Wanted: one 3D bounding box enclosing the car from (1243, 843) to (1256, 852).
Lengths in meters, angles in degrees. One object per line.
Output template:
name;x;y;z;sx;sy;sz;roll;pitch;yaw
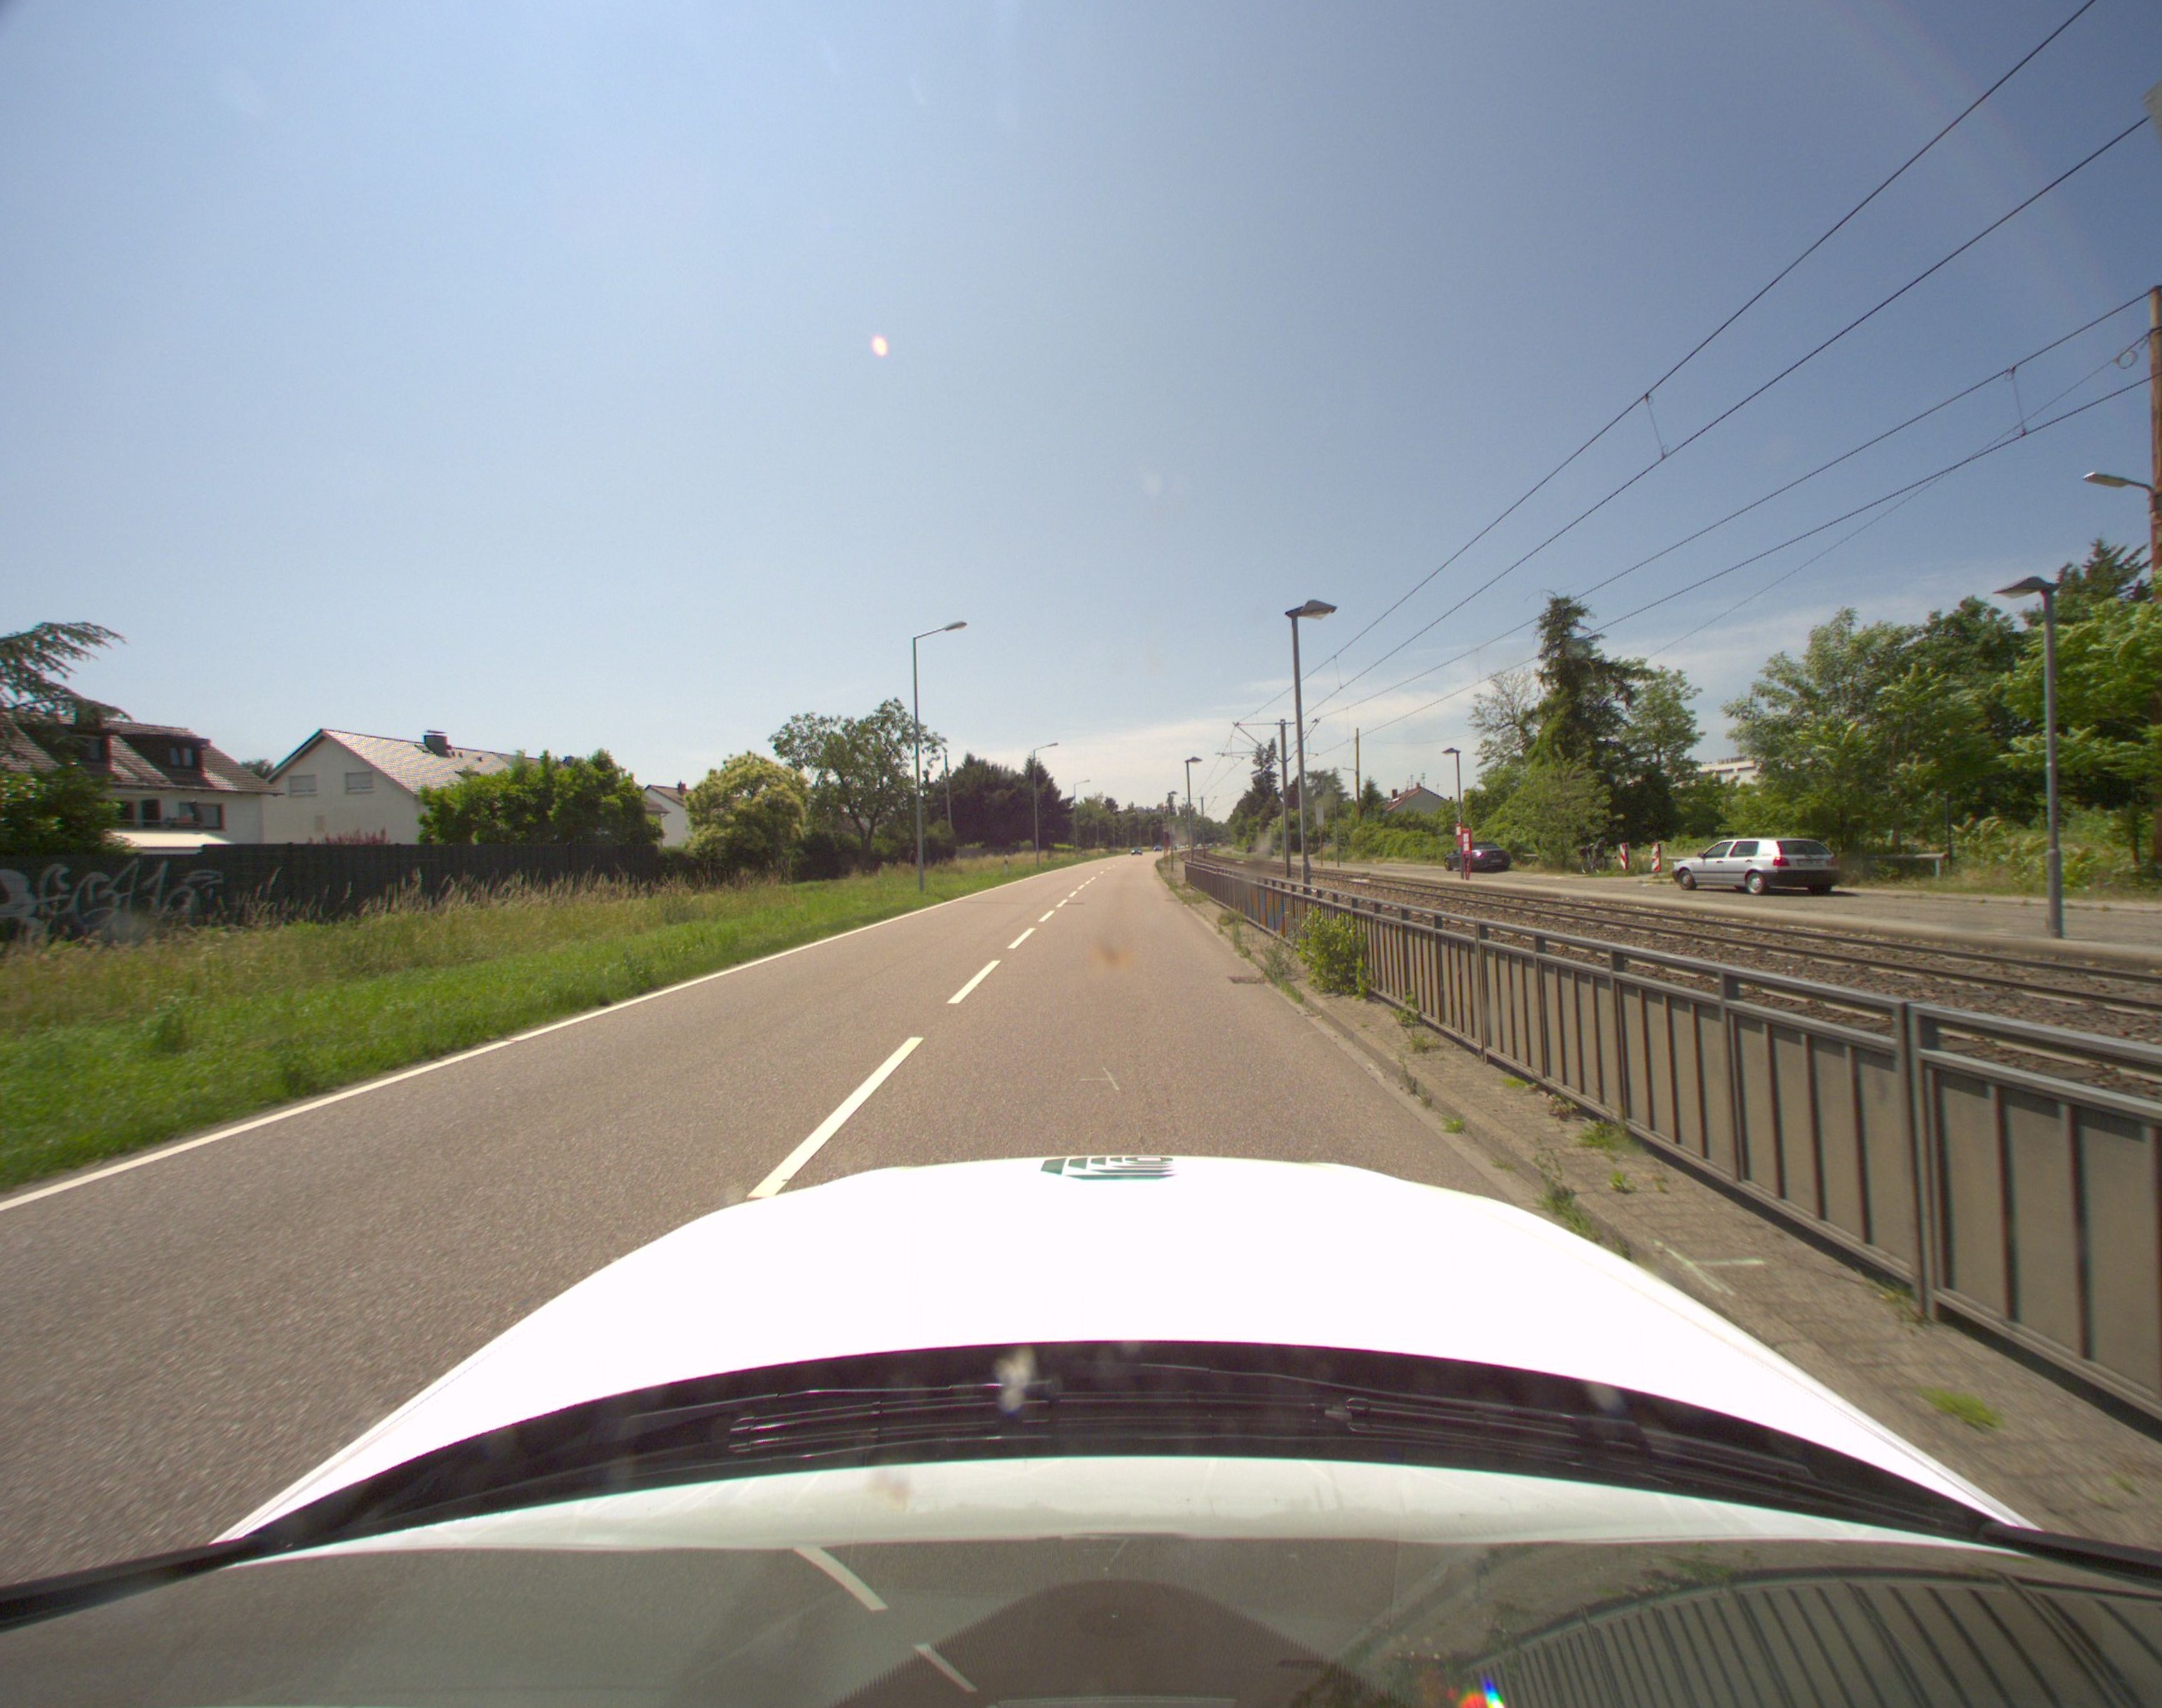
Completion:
car;29.492;-1.084;142.465;1.904;1.470;4.008;-1;0;7

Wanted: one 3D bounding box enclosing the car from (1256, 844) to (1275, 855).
car;24.810;-0.625;109.452;1.852;1.330;4.521;-1;0;5

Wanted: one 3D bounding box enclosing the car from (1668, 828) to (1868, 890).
car;17.509;0.112;21.052;1.931;1.422;4.003;-1;0;3

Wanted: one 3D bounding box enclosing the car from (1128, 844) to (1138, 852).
car;9.487;-1.010;147.812;1.698;1.404;4.715;-1;0;6

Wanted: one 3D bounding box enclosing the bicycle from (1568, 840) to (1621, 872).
bicycle;20.955;0.090;33.247;0.706;1.269;1.664;-2;0;-31

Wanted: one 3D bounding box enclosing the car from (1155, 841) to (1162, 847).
car;20.594;-2.710;215.718;1.738;1.632;4.037;-1;0;6

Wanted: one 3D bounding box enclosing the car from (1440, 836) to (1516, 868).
car;19.282;-0.119;39.764;1.612;1.422;4.878;-1;0;4

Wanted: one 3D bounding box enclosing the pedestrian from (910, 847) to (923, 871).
pedestrian;-10.463;0.312;51.790;0.606;1.477;0.634;-1;0;5
